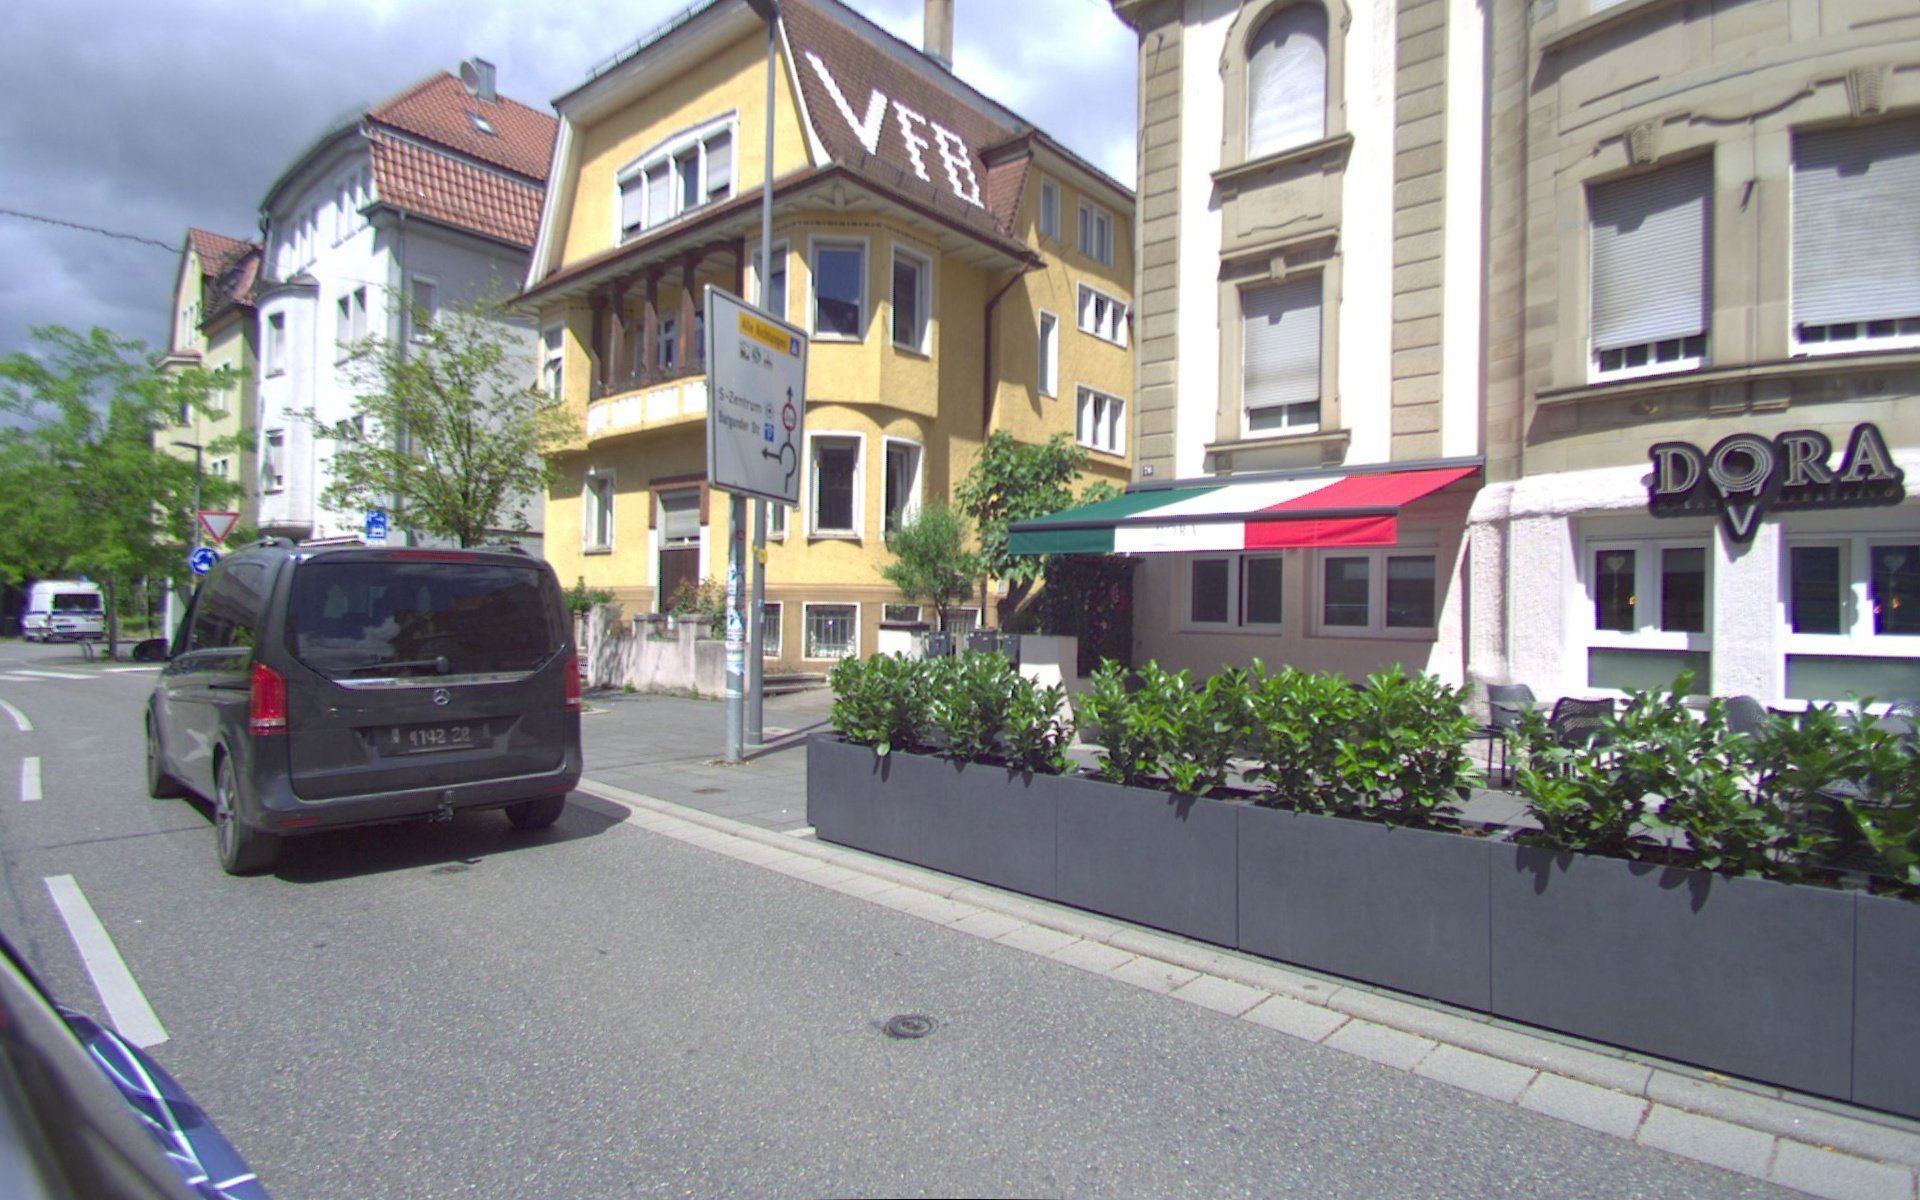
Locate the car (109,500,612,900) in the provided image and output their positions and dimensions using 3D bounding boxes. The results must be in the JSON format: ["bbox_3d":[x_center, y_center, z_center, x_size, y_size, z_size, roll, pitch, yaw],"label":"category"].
[{"bbox_3d":[-4.667,0.554,7.417,5.177,1.948,1.851,-2,-2,44],"label":"car"}]

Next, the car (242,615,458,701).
[{"bbox_3d":[-10.599,0.939,17.452,4.459,1.314,1.701,-1,-2,38],"label":"car"}]

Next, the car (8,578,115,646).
[{"bbox_3d":[-38.780,0.444,43.577,7.261,2.692,2.280,0,1,39],"label":"car"}]
